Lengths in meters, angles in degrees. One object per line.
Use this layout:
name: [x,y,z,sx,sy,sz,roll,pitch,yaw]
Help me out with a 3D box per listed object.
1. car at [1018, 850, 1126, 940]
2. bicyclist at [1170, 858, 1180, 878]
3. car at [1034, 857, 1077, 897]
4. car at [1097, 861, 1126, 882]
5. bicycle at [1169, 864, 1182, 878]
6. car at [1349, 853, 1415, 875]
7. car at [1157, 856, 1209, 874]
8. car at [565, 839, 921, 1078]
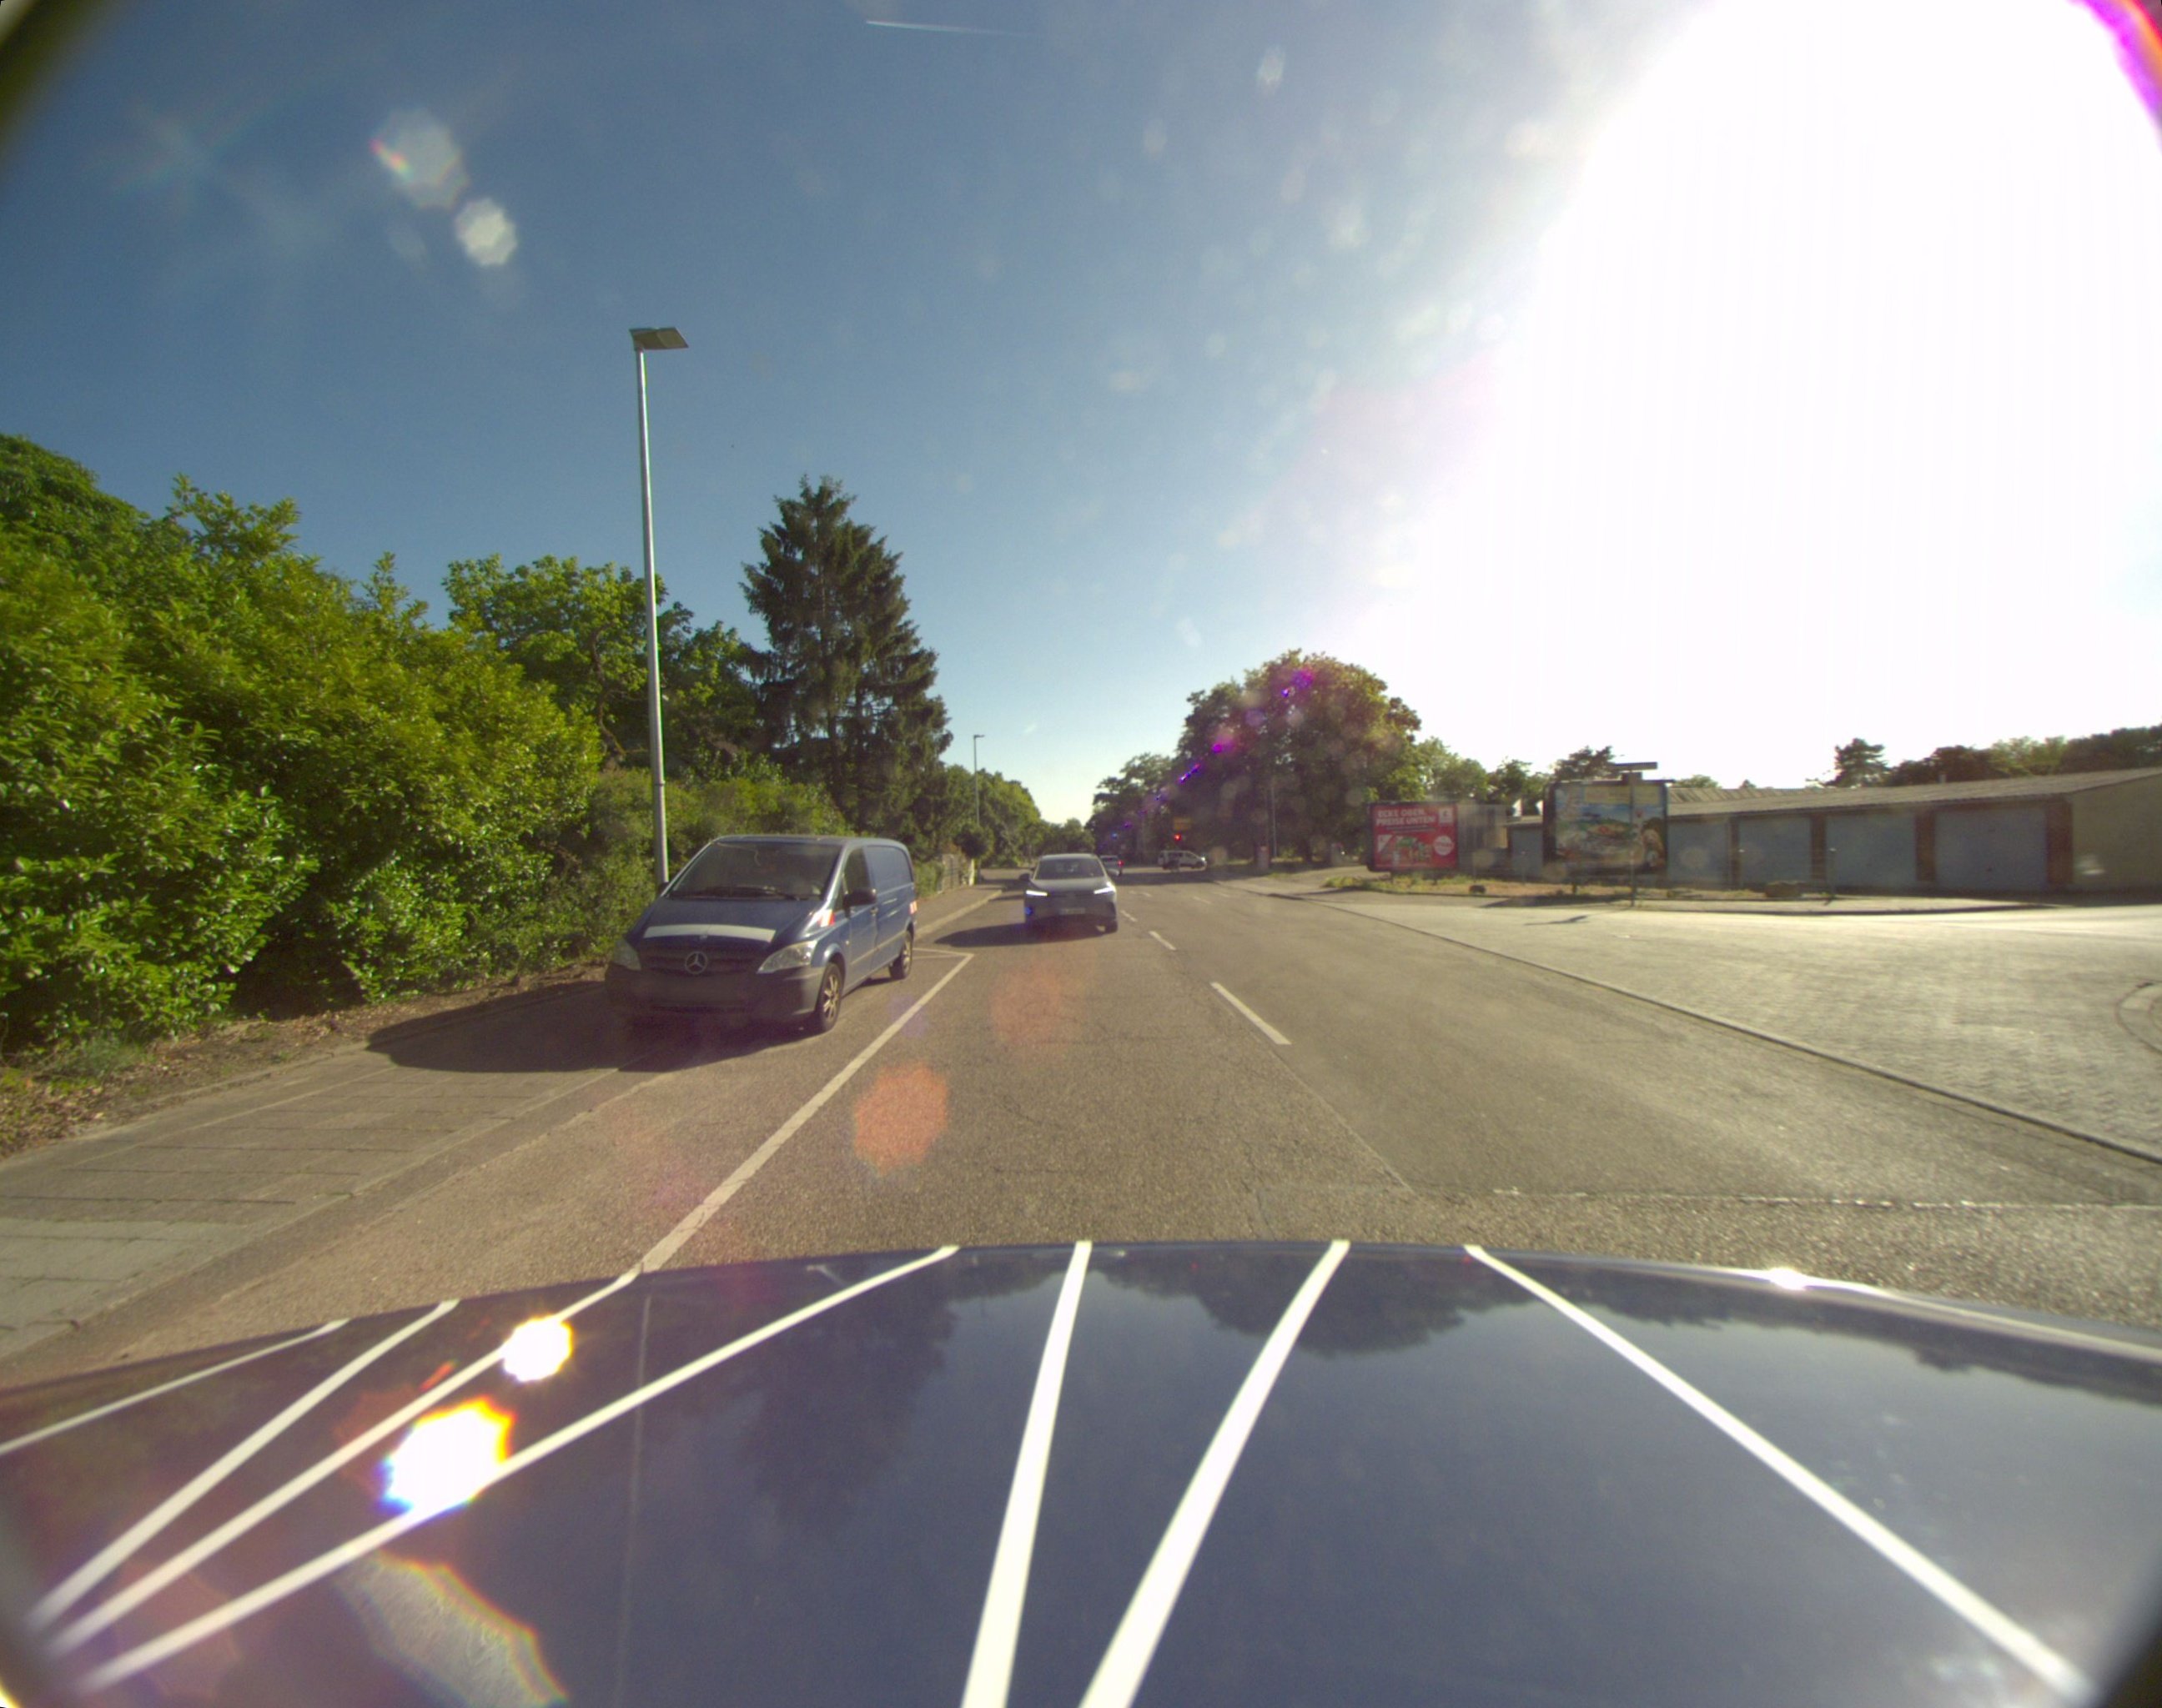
car: [-0.143,0.762,16.551,1.992,1.631,4.364,-1,1,1]
bicyclist: [7.530,1.113,60.958,0.542,1.632,0.829,-1,0,-7]
car: [-1.147,0.944,32.745,1.692,1.564,4.120,-2,0,-3]
car: [2.200,1.244,56.254,1.841,1.480,4.889,0,0,-2]
bicycle: [7.566,1.358,60.785,0.529,1.135,2.025,-1,0,-7]
car: [21.429,0.659,54.172,1.763,1.368,3.988,-1,3,-37]
car: [10.175,1.073,75.811,4.868,1.830,1.862,0,0,-13]
car: [-3.220,0.847,8.483,1.841,1.896,4.697,-1,0,0]
